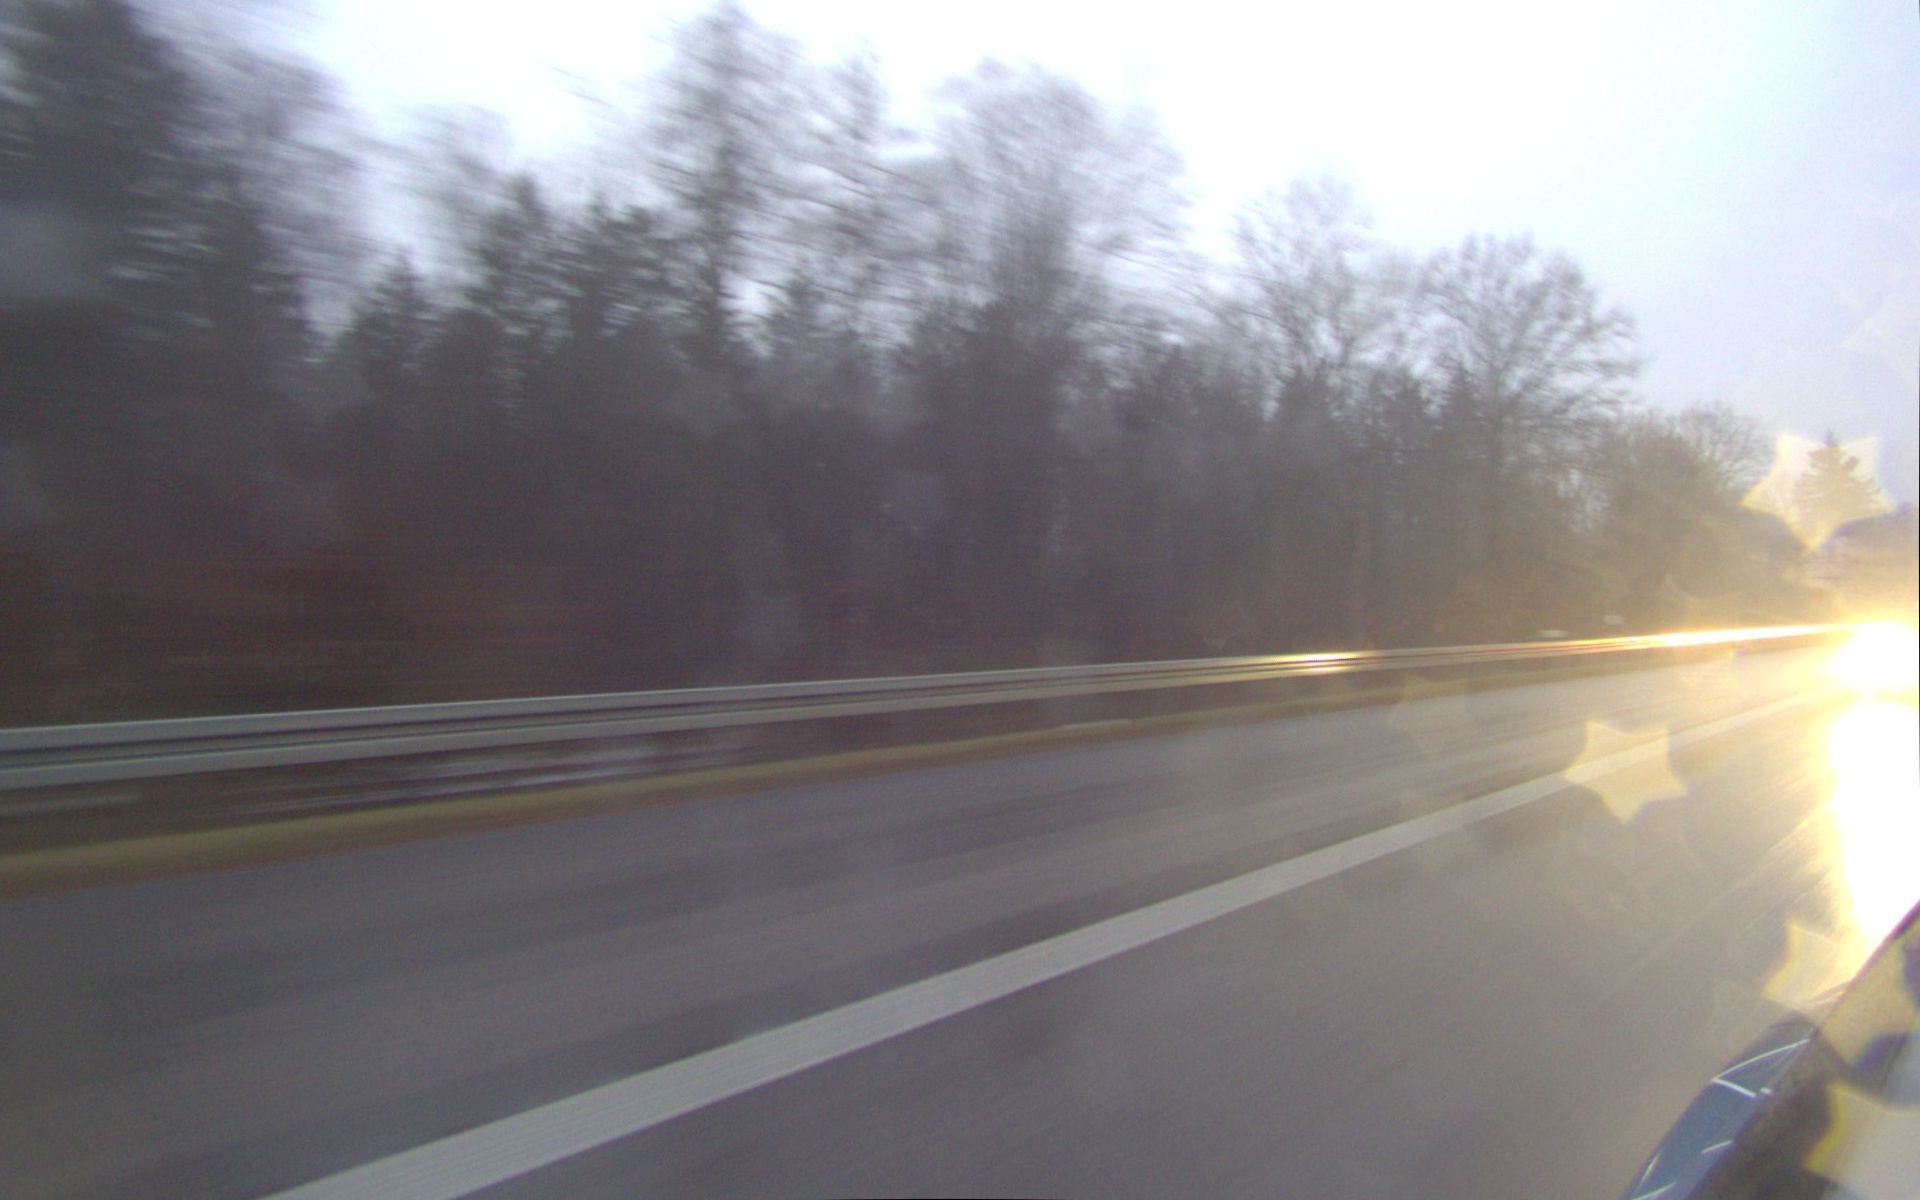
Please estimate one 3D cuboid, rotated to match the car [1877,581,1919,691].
[{"bbox_3d":[17.535,0.594,17.580,3.871,1.814,1.928,0,0,-41],"label":"car"}]
